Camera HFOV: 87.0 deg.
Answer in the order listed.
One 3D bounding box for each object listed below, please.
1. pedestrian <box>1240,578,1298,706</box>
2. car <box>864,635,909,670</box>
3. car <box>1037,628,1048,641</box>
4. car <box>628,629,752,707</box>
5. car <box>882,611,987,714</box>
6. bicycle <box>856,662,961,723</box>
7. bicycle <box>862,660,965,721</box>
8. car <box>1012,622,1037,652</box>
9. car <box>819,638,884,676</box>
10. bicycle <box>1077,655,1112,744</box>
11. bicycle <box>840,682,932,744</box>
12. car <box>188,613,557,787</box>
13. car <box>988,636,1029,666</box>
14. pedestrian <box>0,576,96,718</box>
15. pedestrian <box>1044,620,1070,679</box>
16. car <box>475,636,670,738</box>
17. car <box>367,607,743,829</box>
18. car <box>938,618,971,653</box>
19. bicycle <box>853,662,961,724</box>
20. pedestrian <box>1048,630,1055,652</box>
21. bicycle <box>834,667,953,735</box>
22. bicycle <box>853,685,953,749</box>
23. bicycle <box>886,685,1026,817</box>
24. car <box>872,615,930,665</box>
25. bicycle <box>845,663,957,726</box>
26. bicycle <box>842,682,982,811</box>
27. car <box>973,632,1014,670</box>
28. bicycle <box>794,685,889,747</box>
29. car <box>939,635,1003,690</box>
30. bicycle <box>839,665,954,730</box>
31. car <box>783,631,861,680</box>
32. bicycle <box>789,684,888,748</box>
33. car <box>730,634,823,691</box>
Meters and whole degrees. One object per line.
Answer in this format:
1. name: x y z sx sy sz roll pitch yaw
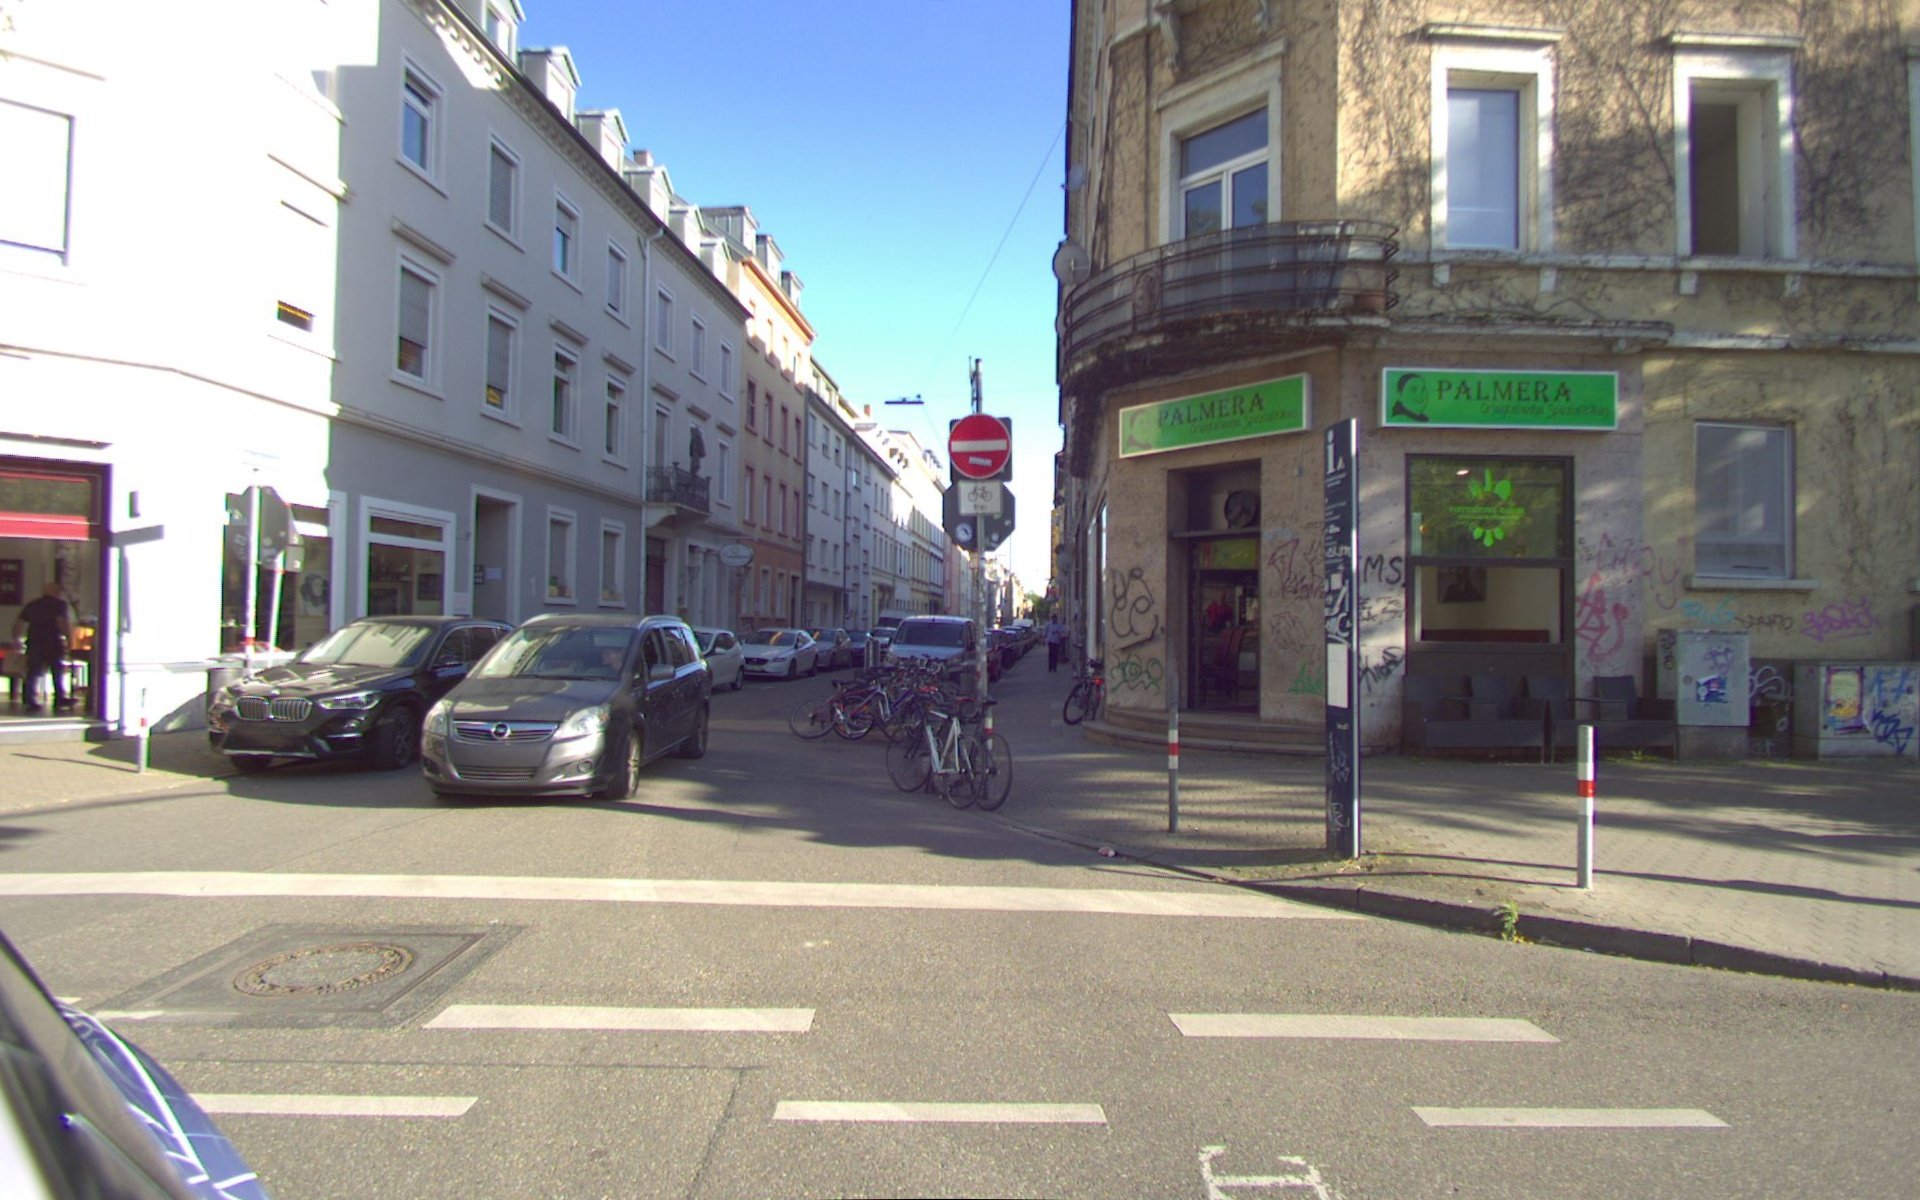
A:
1. pedestrian: 4.375 0.593 14.322 0.645 1.754 0.688 -1 -3 31
2. car: -3.442 2.466 48.045 1.662 1.571 3.856 -1 -2 3
3. car: 19.599 8.282 240.507 2.534 3.071 7.049 -1 -2 5
4. car: -6.031 1.494 23.023 1.620 1.599 3.783 -1 -2 4
5. car: -0.451 1.304 22.172 1.664 1.924 4.511 3 -2 6
6. bicycle: -0.870 1.563 17.204 1.748 0.969 0.405 1 -2 5
7. bicycle: -0.807 1.571 17.642 1.748 0.996 0.463 1 -2 5
8. car: 5.832 3.330 90.894 2.069 2.611 5.834 0 -2 5
9. car: -4.214 2.201 39.893 1.750 1.405 4.488 -1 -2 4
10. bicycle: 1.819 1.323 13.819 0.394 1.100 1.589 1 -1 5
11. bicycle: -1.077 1.657 14.840 1.293 0.824 0.382 3 -2 -3
12. car: -6.577 1.050 11.971 1.743 1.675 4.192 -1 -2 4
13. car: 2.533 2.586 52.134 1.666 1.474 3.848 0 -2 10
14. pedestrian: -12.242 0.621 13.440 0.850 1.813 0.854 1 -2 -18
15. pedestrian: 3.078 1.558 32.080 0.781 1.845 0.593 -1 -2 6
16. car: -6.430 1.385 17.282 1.629 1.514 3.950 -1 -2 4
17. car: -3.665 1.001 10.365 1.774 1.675 5.183 -1 -2 0
18. car: -0.373 2.862 81.048 2.026 2.698 6.174 -1 -2 5
19. bicycle: -0.872 1.528 16.776 1.748 0.969 0.421 1 -2 5
20. pedestrian: 7.899 3.540 87.480 0.619 1.845 0.593 -1 -2 7
21. bicycle: -0.992 1.514 15.215 1.745 0.969 0.428 1 -2 -1
22. bicycle: -0.816 1.665 14.466 1.370 0.824 0.362 3 -2 -3
23. bicycle: -0.077 1.364 9.497 0.443 1.054 1.668 2 -3 -34
24. car: -3.103 2.151 54.769 2.027 2.532 6.008 -1 -2 7
25. bicycle: -0.940 1.518 16.330 1.748 0.969 0.442 1 -2 5
26. bicycle: -0.479 1.287 9.260 0.450 1.054 1.692 2 -5 -34
27. car: 1.445 2.110 42.467 1.662 1.504 3.608 0 -2 3
28. bicycle: -1.639 1.608 14.093 1.293 0.824 0.355 1 -2 -3
29. car: 0.413 1.853 31.003 1.663 1.484 4.197 3 -2 4
30. bicycle: -0.990 1.503 15.665 1.743 0.969 0.482 1 -2 -6
31. car: -4.773 1.903 35.440 1.665 1.609 4.180 -1 -2 7
32. bicycle: -1.636 1.570 13.702 1.293 0.824 0.372 1 -2 -3
33. car: -5.256 1.772 29.541 1.663 1.522 4.184 -1 -2 4
